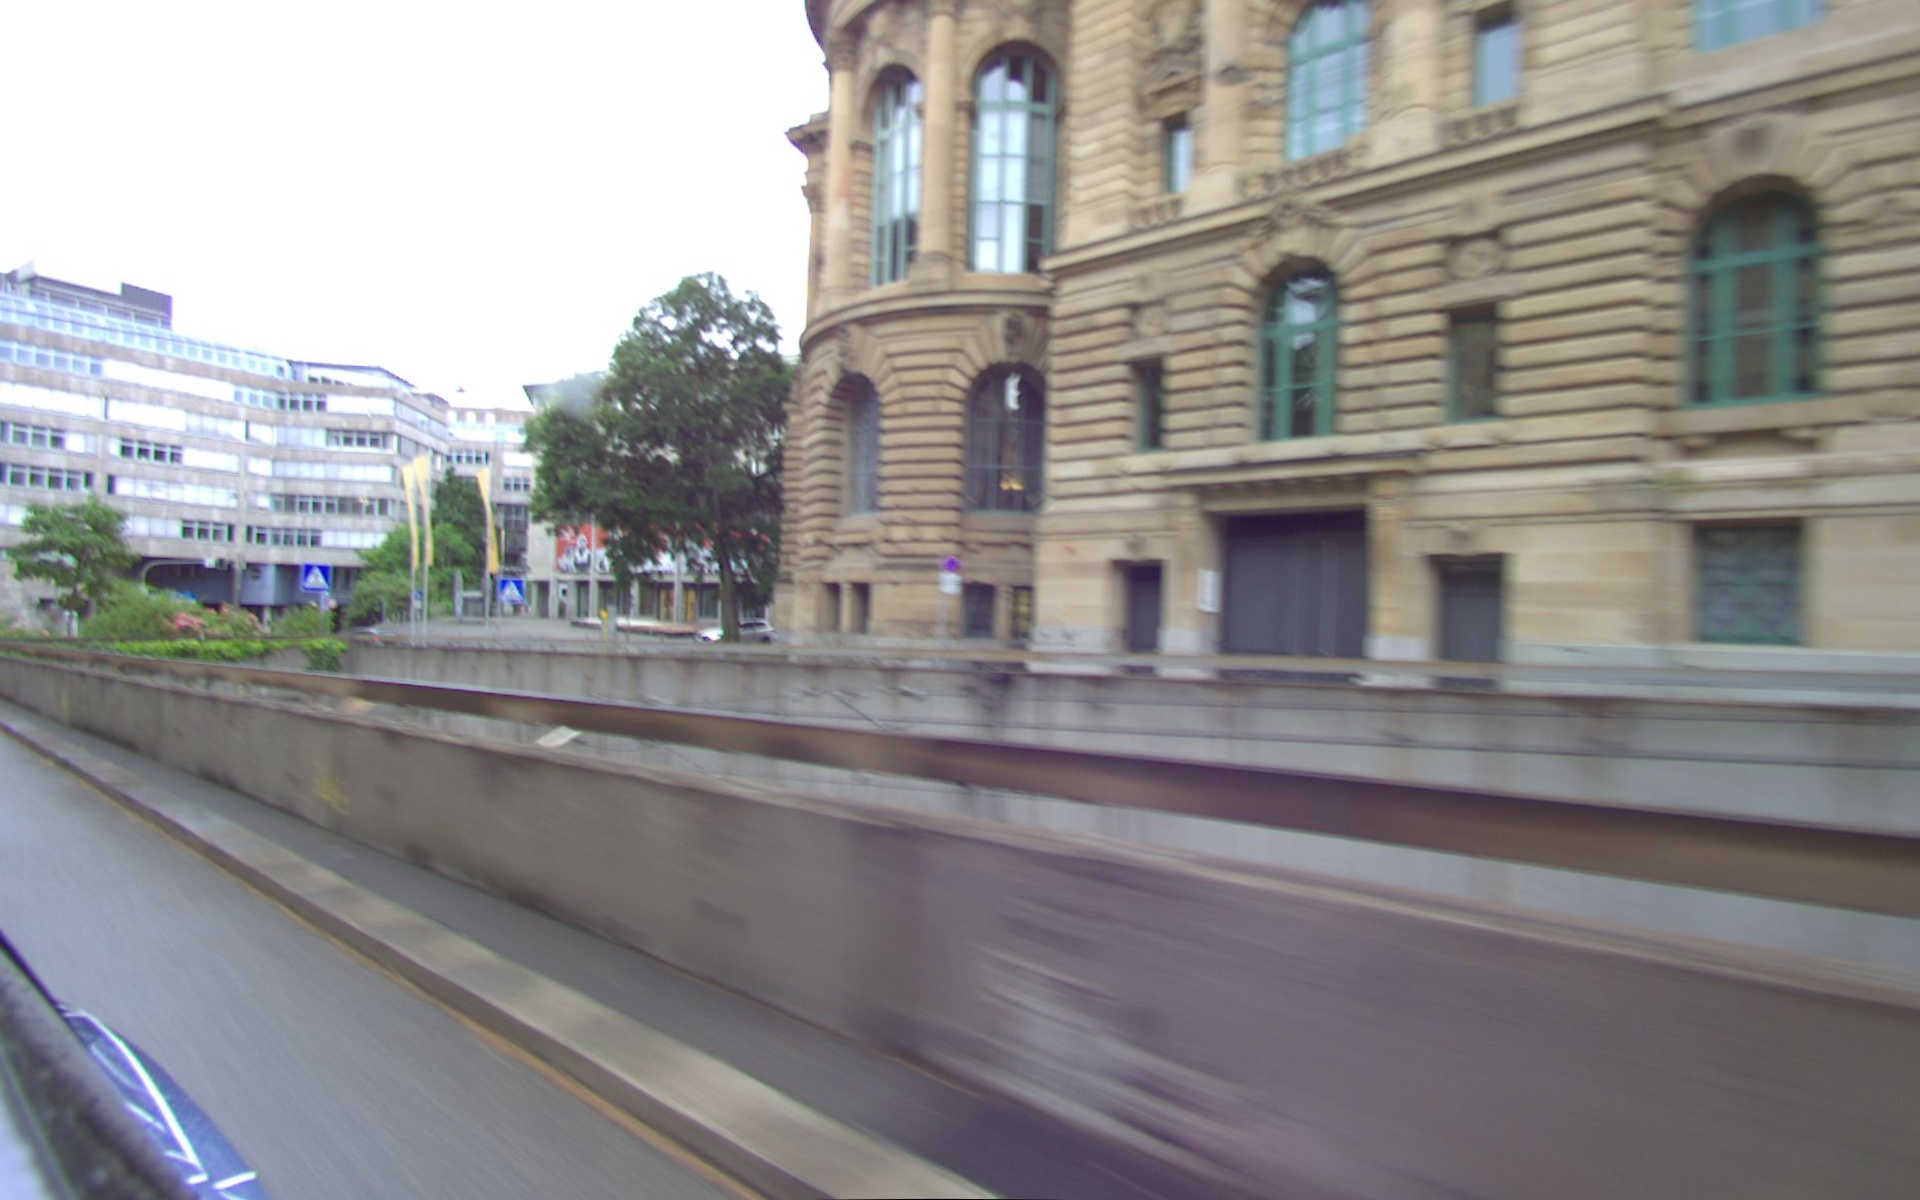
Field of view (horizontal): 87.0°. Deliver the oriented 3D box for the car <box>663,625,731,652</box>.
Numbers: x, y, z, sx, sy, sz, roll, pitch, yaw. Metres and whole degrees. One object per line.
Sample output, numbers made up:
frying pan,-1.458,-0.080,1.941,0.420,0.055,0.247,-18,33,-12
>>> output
car,-16.367,2.394,63.078,1.987,1.568,4.180,0,-2,23
